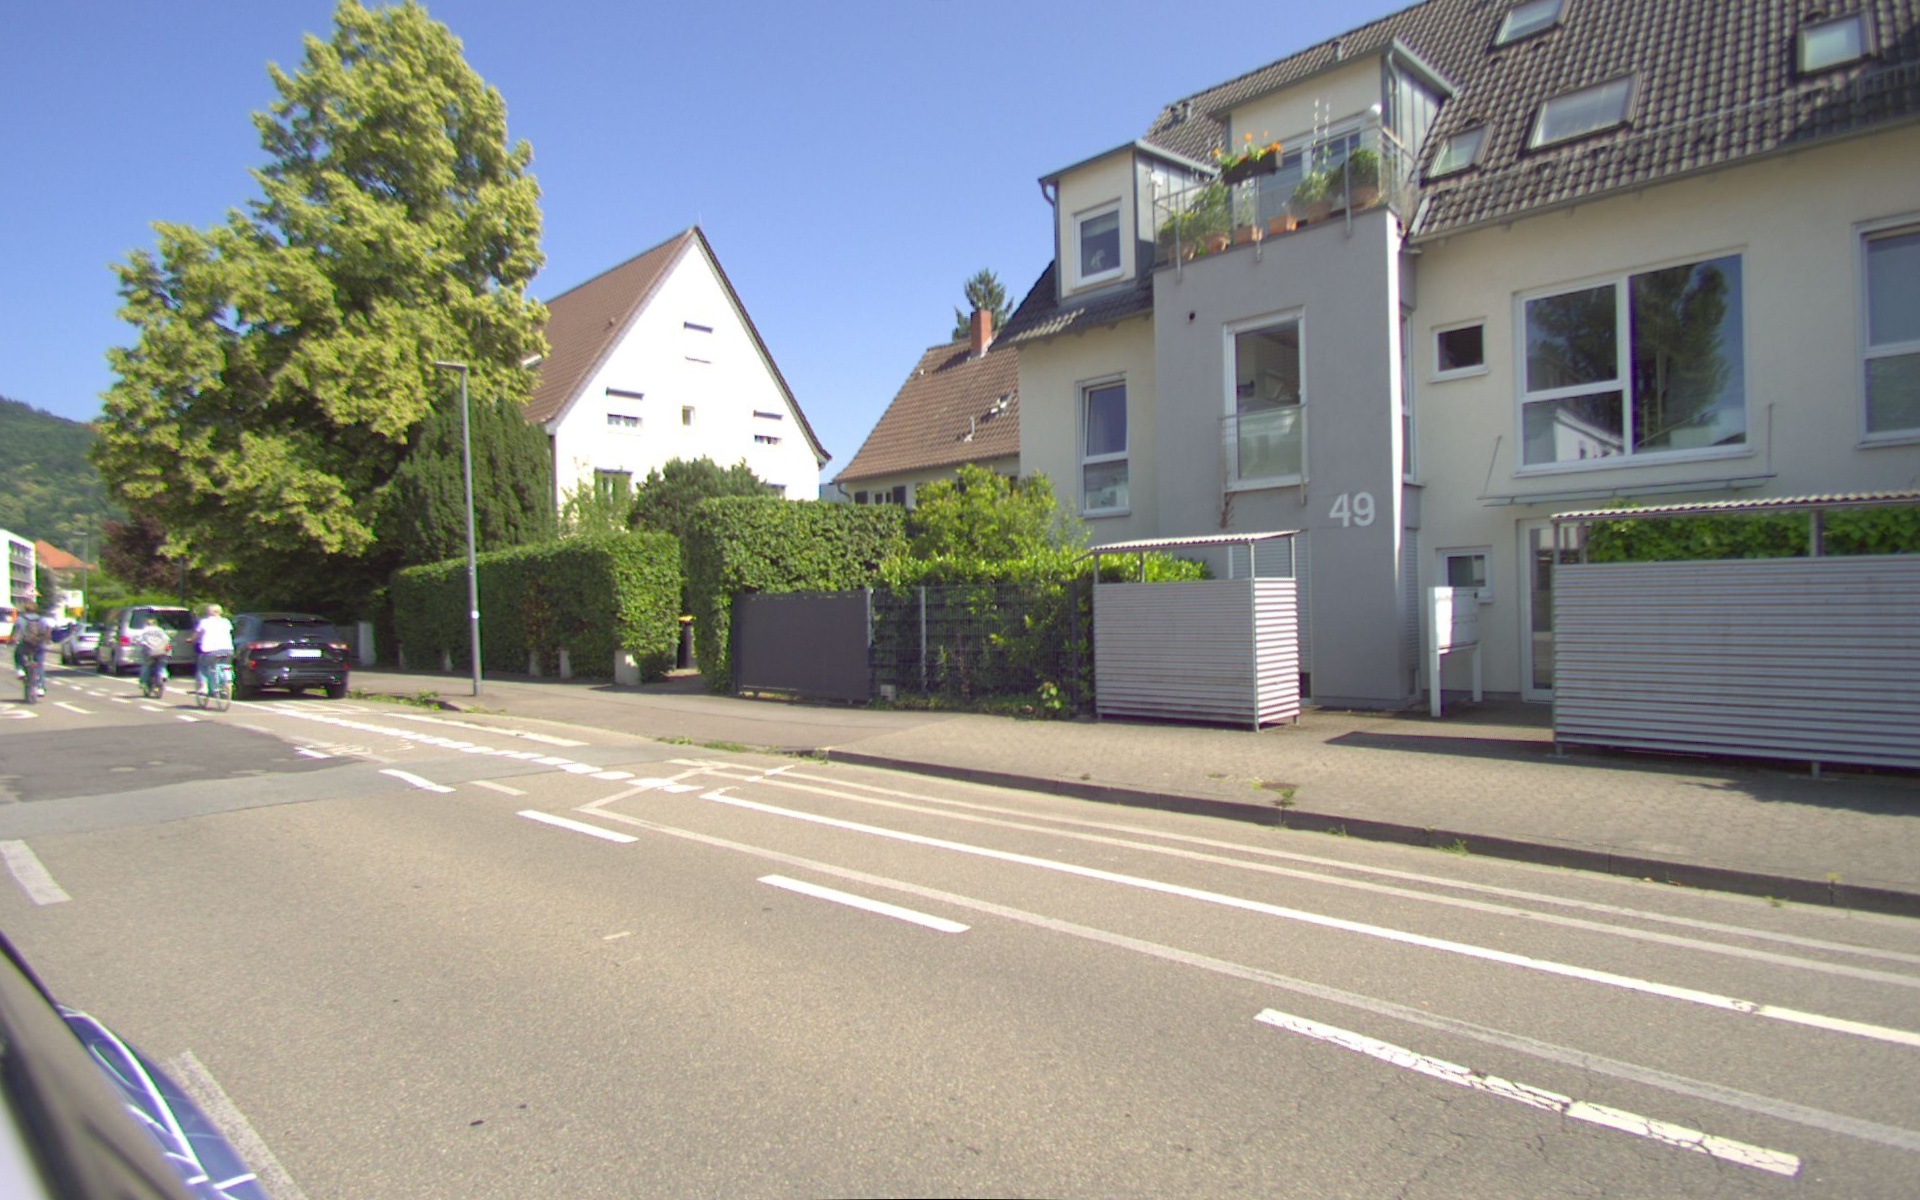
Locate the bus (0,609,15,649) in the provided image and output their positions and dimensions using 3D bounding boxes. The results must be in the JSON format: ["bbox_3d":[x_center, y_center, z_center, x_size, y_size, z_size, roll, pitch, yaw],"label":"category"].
[{"bbox_3d":[-82.161,2.475,85.865,2.713,3.198,9.786,2,-3,-44],"label":"bus"}]

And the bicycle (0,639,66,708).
[{"bbox_3d":[-17.343,1.326,18.852,2.420,1.175,0.774,-1,-2,43],"label":"bicycle"}]

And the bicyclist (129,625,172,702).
[{"bbox_3d":[-15.654,1.209,19.573,0.964,1.465,0.485,-1,-2,43],"label":"bicyclist"}]

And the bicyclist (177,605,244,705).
[{"bbox_3d":[-12.342,0.893,16.665,0.859,1.592,0.668,-1,-3,43],"label":"bicyclist"}]

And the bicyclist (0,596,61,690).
[{"bbox_3d":[-17.226,0.782,18.721,1.022,1.680,0.741,-1,-2,43],"label":"bicyclist"}]

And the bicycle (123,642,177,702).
[{"bbox_3d":[-15.706,1.372,19.616,1.346,1.113,0.594,-1,-2,43],"label":"bicycle"}]

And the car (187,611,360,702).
[{"bbox_3d":[-13.806,1.067,20.248,4.447,1.623,1.831,-1,-3,42],"label":"car"}]

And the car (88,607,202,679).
[{"bbox_3d":[-23.672,1.224,29.321,4.868,1.934,1.864,-2,-3,43],"label":"car"}]

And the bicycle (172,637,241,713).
[{"bbox_3d":[-12.521,1.230,16.798,2.035,1.194,0.553,-4,-4,43],"label":"bicycle"}]

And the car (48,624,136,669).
[{"bbox_3d":[-31.104,1.635,36.236,4.561,1.497,1.813,-1,-3,42],"label":"car"}]
